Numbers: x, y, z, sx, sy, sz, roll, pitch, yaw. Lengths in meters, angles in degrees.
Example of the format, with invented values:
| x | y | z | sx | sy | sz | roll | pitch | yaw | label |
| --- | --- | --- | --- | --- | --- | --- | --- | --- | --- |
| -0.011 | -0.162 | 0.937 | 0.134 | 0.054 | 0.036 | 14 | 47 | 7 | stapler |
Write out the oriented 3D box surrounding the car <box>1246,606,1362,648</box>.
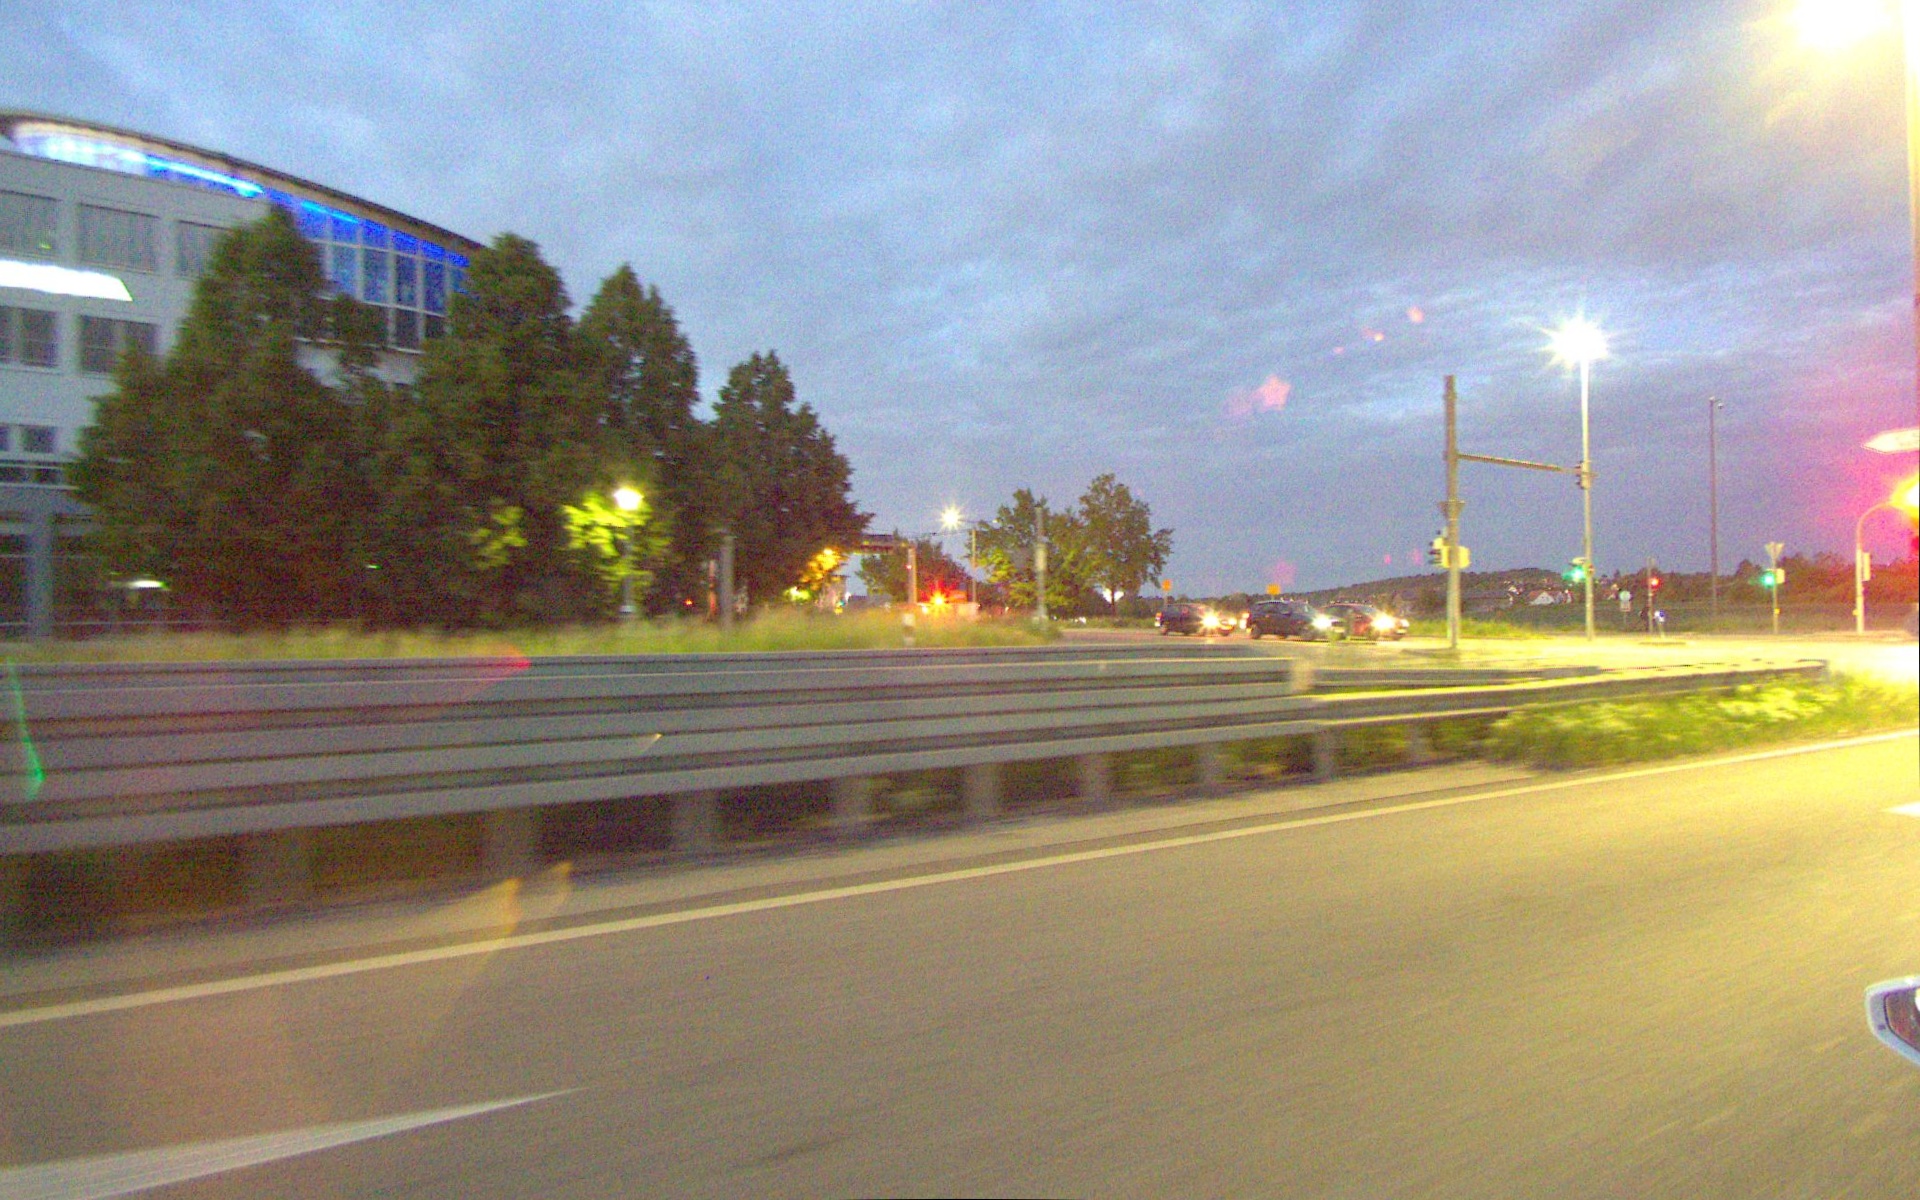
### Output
| x | y | z | sx | sy | sz | roll | pitch | yaw | label |
| --- | --- | --- | --- | --- | --- | --- | --- | --- | --- |
| 13.449 | 1.050 | 39.495 | 1.709 | 1.558 | 4.293 | 1 | -1 | -30 | car |

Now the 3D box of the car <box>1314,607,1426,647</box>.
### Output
| x | y | z | sx | sy | sz | roll | pitch | yaw | label |
| --- | --- | --- | --- | --- | --- | --- | --- | --- | --- |
| 16.612 | 1.080 | 40.887 | 1.710 | 1.558 | 4.019 | 1 | -1 | -32 | car |

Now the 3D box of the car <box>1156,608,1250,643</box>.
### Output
| x | y | z | sx | sy | sz | roll | pitch | yaw | label |
| --- | --- | --- | --- | --- | --- | --- | --- | --- | --- |
| 10.821 | 1.155 | 44.922 | 1.712 | 1.493 | 3.961 | 1 | -1 | -35 | car |
